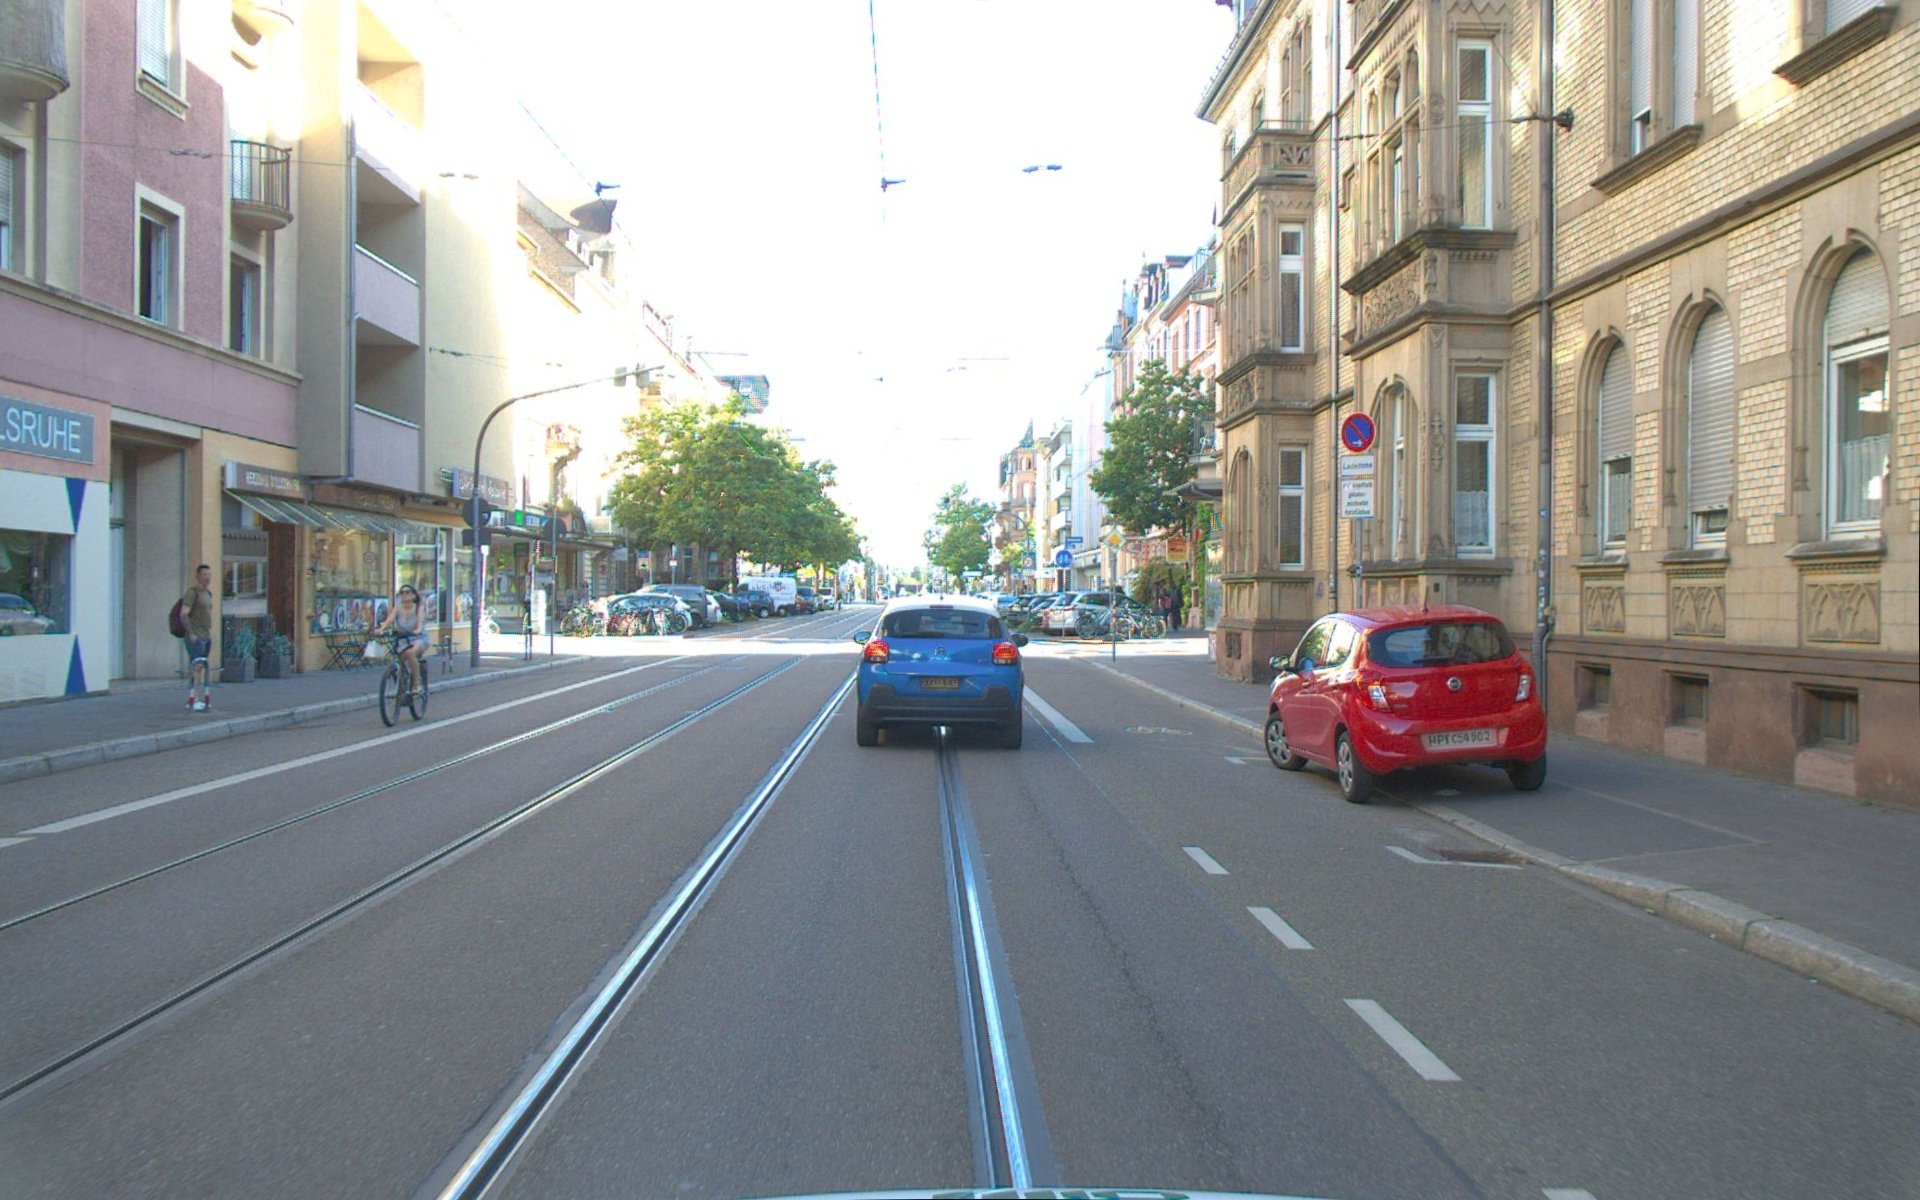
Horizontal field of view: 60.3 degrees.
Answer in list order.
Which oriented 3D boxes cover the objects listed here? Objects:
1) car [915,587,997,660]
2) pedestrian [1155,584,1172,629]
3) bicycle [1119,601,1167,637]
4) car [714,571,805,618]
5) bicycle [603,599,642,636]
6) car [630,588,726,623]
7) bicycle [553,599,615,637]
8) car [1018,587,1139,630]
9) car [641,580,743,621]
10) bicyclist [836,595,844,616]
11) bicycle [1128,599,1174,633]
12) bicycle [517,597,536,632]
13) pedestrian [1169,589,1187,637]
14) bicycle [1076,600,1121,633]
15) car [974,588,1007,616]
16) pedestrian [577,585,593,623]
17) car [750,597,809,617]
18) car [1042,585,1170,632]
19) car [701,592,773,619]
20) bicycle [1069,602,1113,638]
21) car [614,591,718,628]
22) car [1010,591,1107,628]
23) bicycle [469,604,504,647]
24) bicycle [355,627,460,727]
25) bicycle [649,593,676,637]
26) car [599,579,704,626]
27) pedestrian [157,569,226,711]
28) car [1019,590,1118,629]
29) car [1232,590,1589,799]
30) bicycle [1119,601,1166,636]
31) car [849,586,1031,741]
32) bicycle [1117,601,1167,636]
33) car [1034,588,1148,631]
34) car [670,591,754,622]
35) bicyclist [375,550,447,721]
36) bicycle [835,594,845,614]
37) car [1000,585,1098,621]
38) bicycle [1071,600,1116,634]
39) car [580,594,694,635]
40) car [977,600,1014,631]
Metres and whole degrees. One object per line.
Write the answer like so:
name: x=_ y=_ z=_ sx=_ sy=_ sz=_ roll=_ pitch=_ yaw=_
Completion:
car: x=-0.124 y=0.542 z=39.706 sx=1.835 sy=1.624 sz=3.999 roll=1 pitch=0 yaw=-1
pedestrian: x=7.599 y=0.238 z=61.867 sx=0.507 sy=1.677 sz=0.863 roll=1 pitch=0 yaw=-1
bicycle: x=5.994 y=0.627 z=54.262 sx=1.523 sy=1.147 sz=0.552 roll=1 pitch=0 yaw=5
car: x=-12.462 y=-0.328 z=102.877 sx=5.317 sy=2.797 sz=1.787 roll=1 pitch=-1 yaw=-32
bicycle: x=-11.241 y=0.568 z=55.005 sx=0.675 sy=1.143 sz=1.867 roll=0 pitch=2 yaw=-32
car: x=-12.357 y=0.263 z=72.475 sx=3.787 sy=1.455 sz=1.750 roll=1 pitch=0 yaw=-28
bicycle: x=-12.383 y=0.572 z=54.444 sx=2.390 sy=1.128 sz=0.680 roll=3 pitch=3 yaw=39
car: x=4.700 y=0.337 z=65.715 sx=4.380 sy=1.624 sz=2.071 roll=1 pitch=0 yaw=-26
car: x=-12.511 y=0.016 z=77.302 sx=4.314 sy=1.814 sz=1.972 roll=1 pitch=0 yaw=-34
bicyclist: x=-10.074 y=0.452 z=139.118 sx=0.621 sy=1.711 sz=0.726 roll=1 pitch=-1 yaw=-1
bicycle: x=6.566 y=0.548 z=56.854 sx=1.523 sy=1.147 sz=0.552 roll=1 pitch=0 yaw=5
bicycle: x=-14.371 y=0.486 z=54.800 sx=0.397 sy=1.129 sz=1.825 roll=0 pitch=0 yaw=-22
pedestrian: x=8.196 y=0.482 z=62.216 sx=0.507 sy=1.809 sz=0.863 roll=1 pitch=0 yaw=-1
bicycle: x=4.728 y=0.572 z=56.381 sx=1.523 sy=1.098 sz=0.307 roll=1 pitch=-1 yaw=5
car: x=1.832 y=0.133 z=101.303 sx=1.835 sy=1.624 sz=3.999 roll=1 pitch=0 yaw=-1
pedestrian: x=-16.536 y=0.169 z=72.912 sx=0.558 sy=1.681 sz=0.641 roll=1 pitch=-1 yaw=-1
car: x=-12.360 y=0.462 z=113.257 sx=3.752 sy=1.287 sz=1.503 roll=1 pitch=0 yaw=-27
car: x=5.310 y=0.303 z=60.066 sx=4.298 sy=1.624 sz=1.838 roll=1 pitch=0 yaw=-26
car: x=-13.096 y=0.322 z=97.019 sx=3.925 sy=1.515 sz=1.797 roll=1 pitch=0 yaw=-18
bicycle: x=4.323 y=0.651 z=54.614 sx=1.371 sy=1.147 sz=0.550 roll=1 pitch=0 yaw=-8
car: x=-12.296 y=0.402 z=69.197 sx=3.970 sy=1.475 sz=1.679 roll=1 pitch=0 yaw=-34
car: x=4.525 y=0.435 z=75.947 sx=3.938 sy=1.624 sz=2.070 roll=1 pitch=0 yaw=-26
bicycle: x=-14.253 y=0.753 z=49.845 sx=0.668 sy=1.128 sz=2.432 roll=1 pitch=2 yaw=-8
bicycle: x=-6.719 y=0.914 z=20.212 sx=0.590 sy=1.115 sz=2.044 roll=-2 pitch=0 yaw=-1
bicycle: x=-9.939 y=0.480 z=55.307 sx=0.668 sy=1.342 sz=2.433 roll=1 pitch=2 yaw=-5
car: x=-12.403 y=0.113 z=66.471 sx=3.769 sy=1.816 sz=1.779 roll=1 pitch=0 yaw=-30
pedestrian: x=-9.456 y=0.486 z=20.364 sx=0.552 sy=1.715 sz=0.616 roll=1 pitch=-1 yaw=-3
car: x=4.786 y=0.429 z=73.038 sx=3.938 sy=1.624 sz=1.943 roll=1 pitch=0 yaw=-26
car: x=3.806 y=0.726 z=14.833 sx=1.828 sy=1.508 sz=4.399 roll=-3 pitch=0 yaw=-2
bicycle: x=6.048 y=0.618 z=54.851 sx=1.523 sy=1.147 sz=0.528 roll=1 pitch=0 yaw=5
car: x=-0.240 y=0.618 z=17.681 sx=1.727 sy=1.466 sz=3.555 roll=1 pitch=0 yaw=-2
bicycle: x=6.084 y=0.616 z=55.433 sx=1.639 sy=1.147 sz=0.552 roll=1 pitch=0 yaw=5
car: x=4.971 y=0.362 z=62.708 sx=3.938 sy=1.563 sz=1.902 roll=1 pitch=0 yaw=-26
car: x=-12.805 y=0.345 z=85.492 sx=3.944 sy=1.515 sz=1.788 roll=1 pitch=0 yaw=-30
bicyclist: x=-6.703 y=0.428 z=20.225 sx=0.599 sy=2.049 sz=0.733 roll=1 pitch=-1 yaw=-1
bicycle: x=-10.060 y=0.327 z=138.994 sx=0.666 sy=1.708 sz=2.096 roll=1 pitch=0 yaw=-1
car: x=4.223 y=0.151 z=78.521 sx=4.250 sy=1.624 sz=1.966 roll=1 pitch=0 yaw=-26
bicycle: x=4.583 y=0.570 z=56.761 sx=1.527 sy=1.147 sz=0.295 roll=1 pitch=-1 yaw=5
car: x=-11.862 y=0.529 z=60.839 sx=3.747 sy=1.424 sz=1.734 roll=1 pitch=0 yaw=-35
car: x=1.926 y=0.853 z=90.655 sx=1.835 sy=1.624 sz=4.718 roll=1 pitch=0 yaw=-1
